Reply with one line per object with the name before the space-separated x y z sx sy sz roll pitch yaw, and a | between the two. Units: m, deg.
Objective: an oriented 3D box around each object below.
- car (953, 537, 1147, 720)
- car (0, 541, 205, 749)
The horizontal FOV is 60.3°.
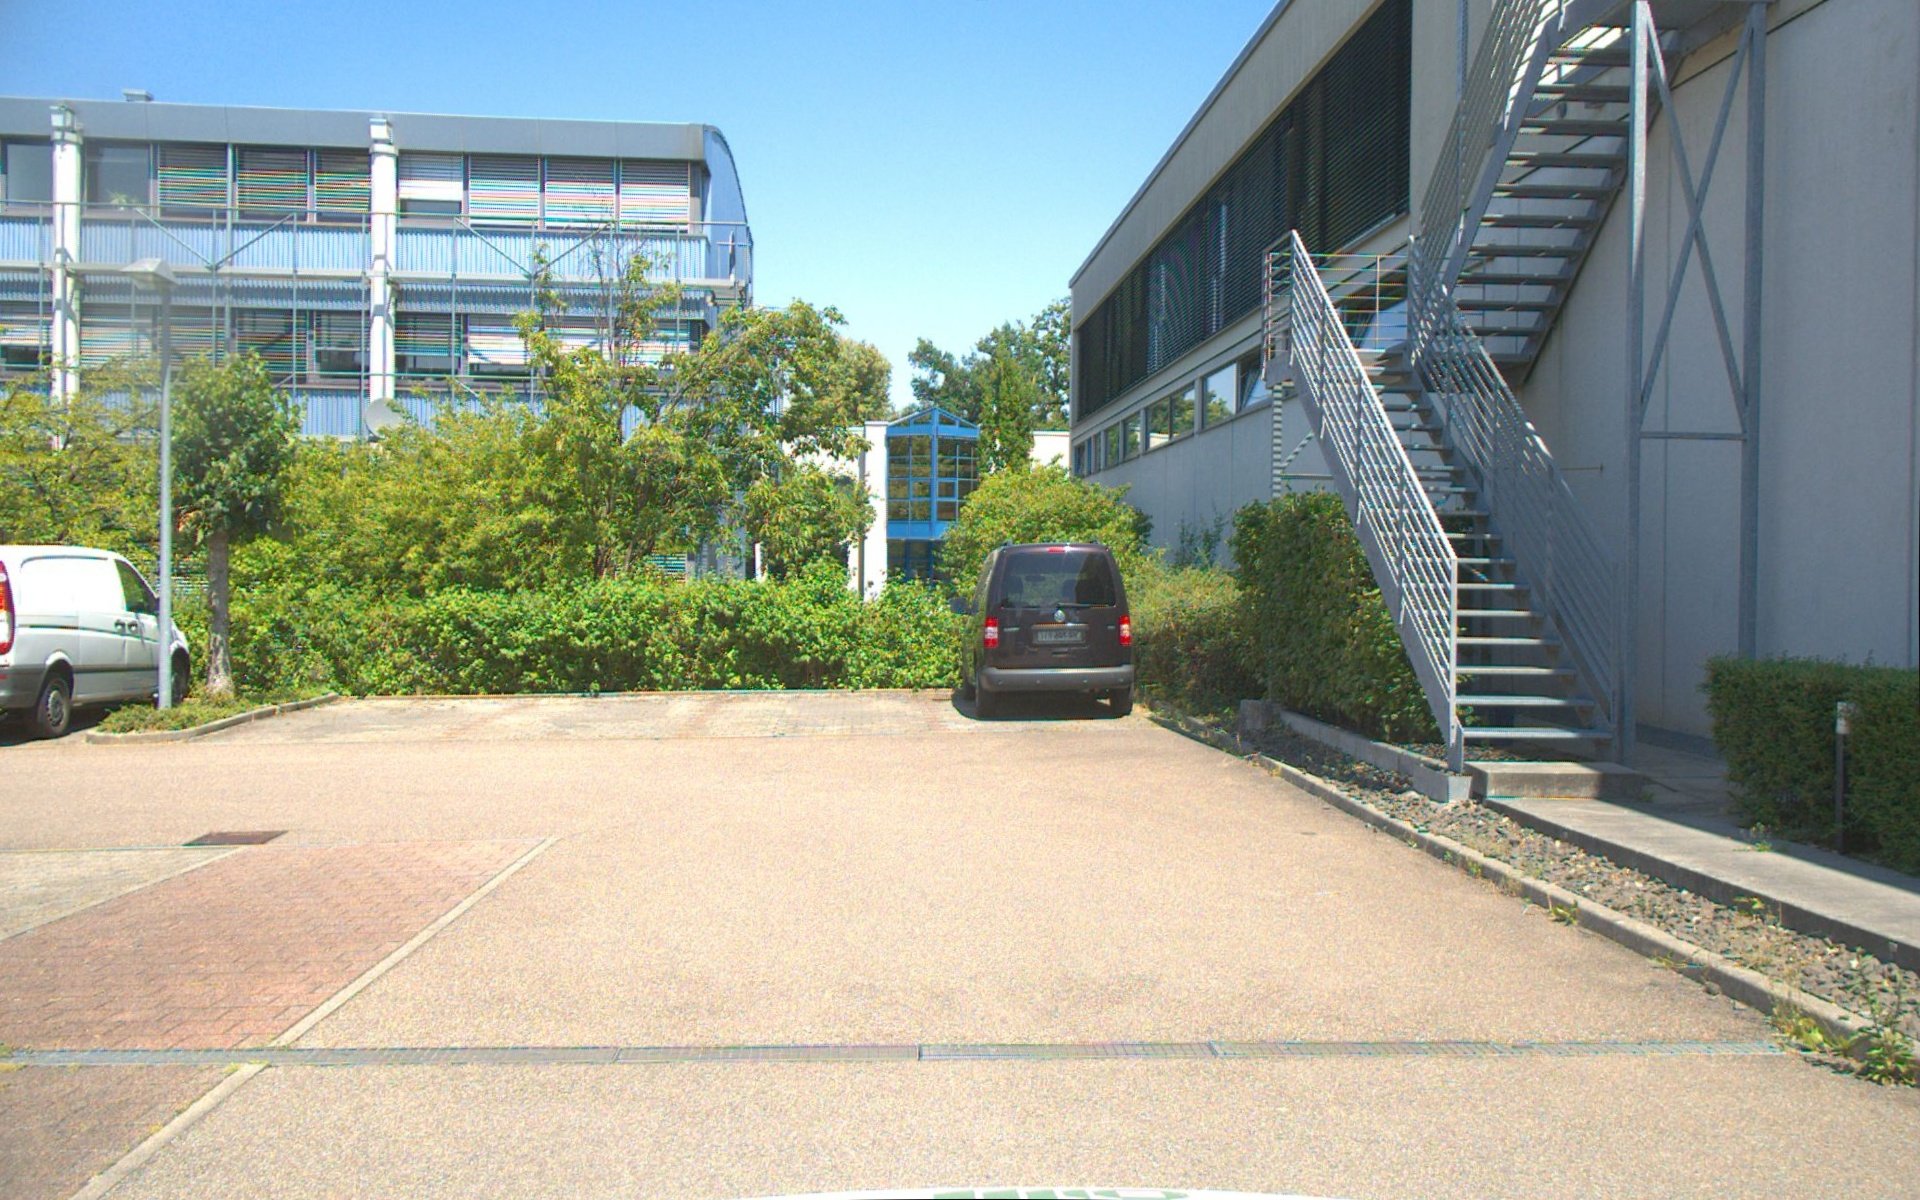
car | 0.927 0.262 19.139 1.709 1.869 3.997 -1 1 -5
car | -9.944 0.375 17.690 1.876 1.938 4.803 -1 1 -5
